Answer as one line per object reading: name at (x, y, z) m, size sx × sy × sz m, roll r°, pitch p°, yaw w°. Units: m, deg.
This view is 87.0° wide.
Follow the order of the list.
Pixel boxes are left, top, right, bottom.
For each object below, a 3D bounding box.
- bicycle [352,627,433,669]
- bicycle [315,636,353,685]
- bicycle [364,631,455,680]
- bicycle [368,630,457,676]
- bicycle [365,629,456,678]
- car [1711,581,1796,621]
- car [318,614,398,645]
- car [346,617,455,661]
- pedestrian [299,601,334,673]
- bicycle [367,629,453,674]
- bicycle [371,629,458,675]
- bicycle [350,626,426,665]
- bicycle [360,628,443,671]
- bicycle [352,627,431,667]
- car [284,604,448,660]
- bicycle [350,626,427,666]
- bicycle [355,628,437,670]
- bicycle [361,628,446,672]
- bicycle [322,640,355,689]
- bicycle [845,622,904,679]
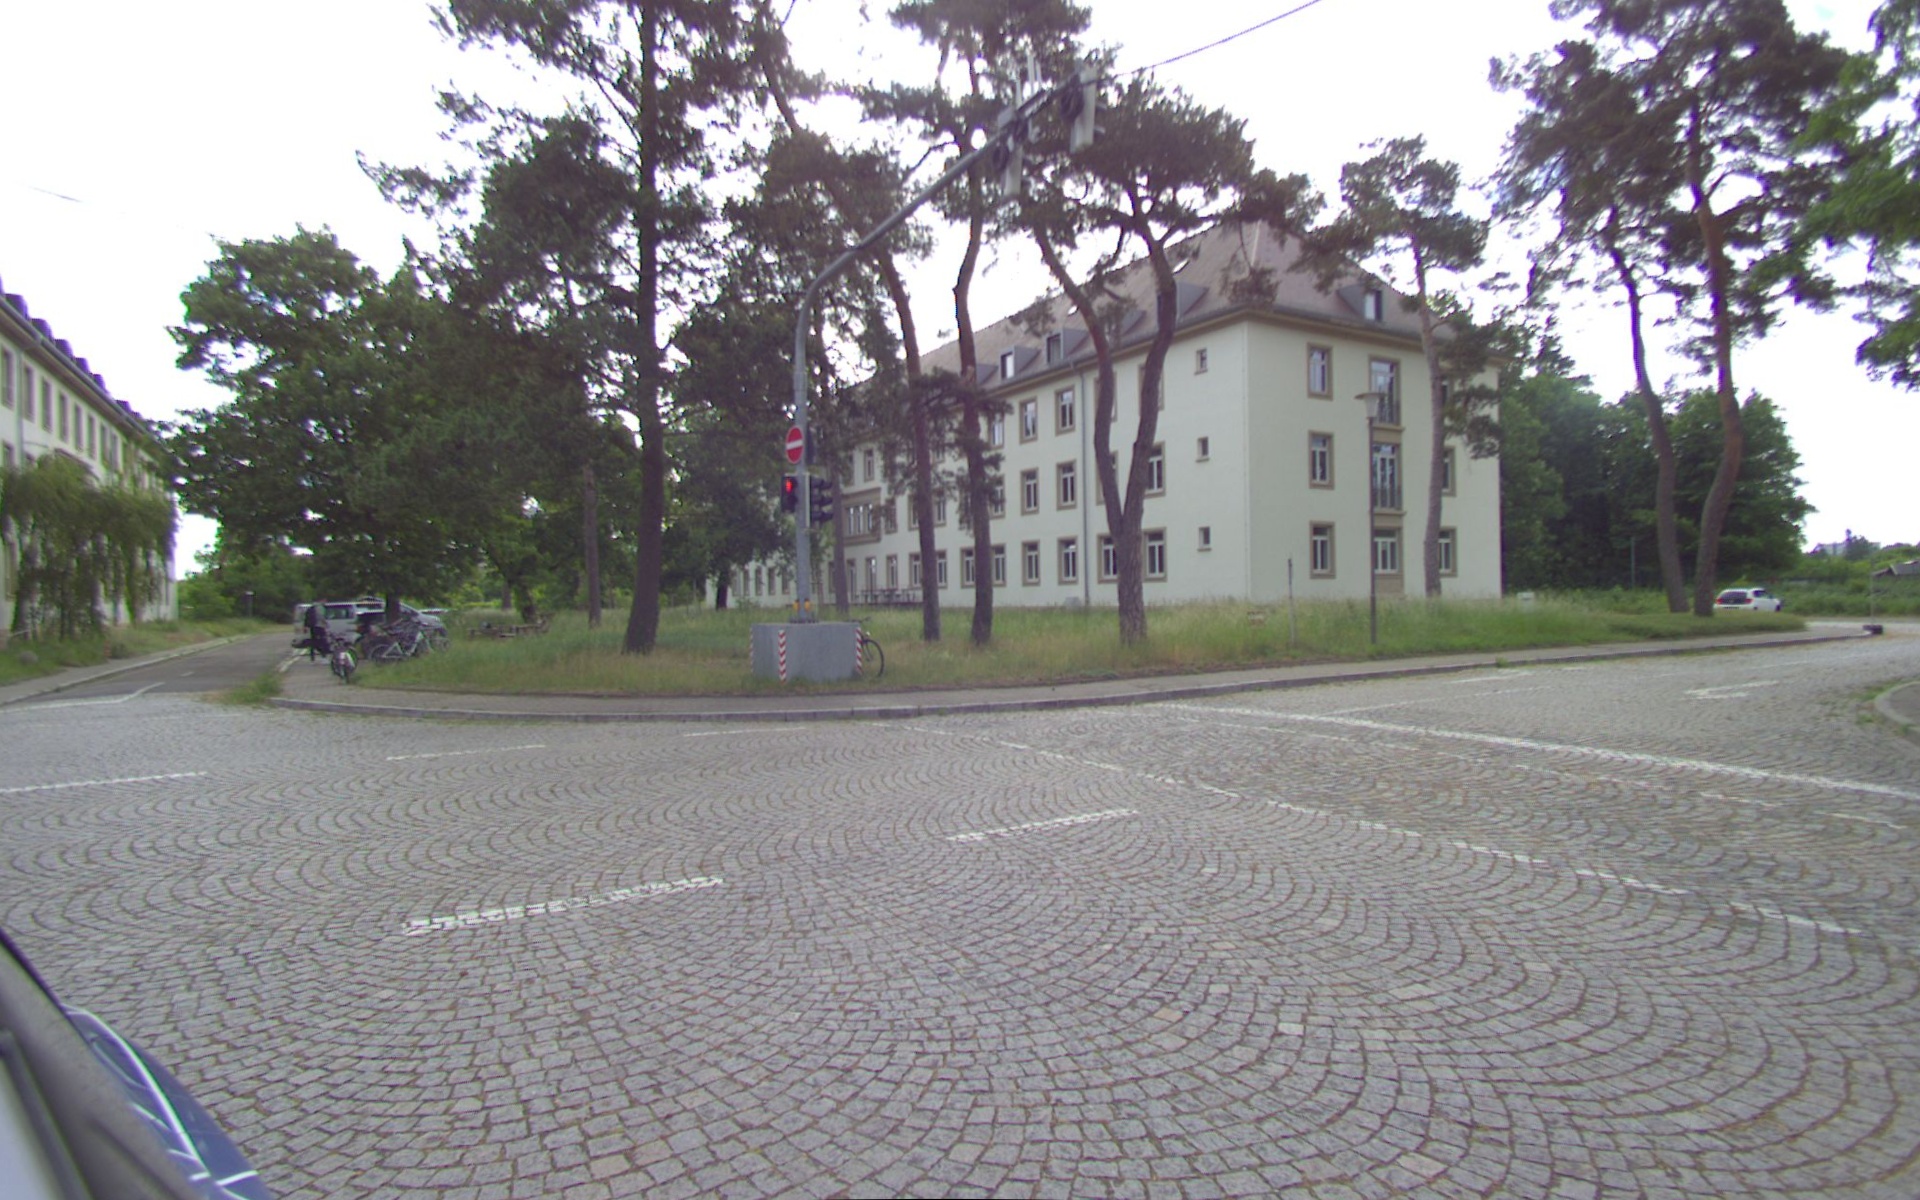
bicycle at (-15.854, 1.322, 28.281) m, size 1.919 × 1.073 × 0.564 m, roll -1°, pitch -1°, yaw -33°
bicycle at (-13.768, 1.317, 22.270) m, size 0.452 × 0.981 × 1.668 m, roll -1°, pitch 0°, yaw -23°
bicycle at (-13.290, 1.317, 24.450) m, size 1.868 × 1.073 × 0.618 m, roll -1°, pitch -1°, yaw -33°
bicycle at (-13.746, 1.317, 25.446) m, size 1.919 × 1.073 × 0.564 m, roll -1°, pitch -1°, yaw -33°
bicycle at (-13.536, 1.293, 24.953) m, size 1.919 × 1.119 × 0.564 m, roll -1°, pitch -1°, yaw -33°
car at (37.540, 0.044, 47.876) m, size 3.931 × 1.820 × 1.727 m, roll -1°, pitch 0°, yaw -29°
car at (-30.601, 1.462, 51.454) m, size 3.384 × 1.460 × 1.919 m, roll -1°, pitch 0°, yaw -33°
car at (-20.655, 1.401, 37.343) m, size 3.384 × 1.460 × 1.919 m, roll -1°, pitch 0°, yaw -33°
pedestrian at (-17.856, 1.007, 28.095) m, size 0.780 × 1.952 × 0.590 m, roll -1°, pitch -1°, yaw -31°
bicycle at (-14.343, 1.319, 26.413) m, size 1.919 × 1.073 × 0.564 m, roll -1°, pitch -1°, yaw -33°
bicycle at (-14.016, 1.318, 26.043) m, size 1.919 × 1.073 × 0.564 m, roll -1°, pitch -1°, yaw -33°
bicycle at (-16.933, 1.327, 29.977) m, size 1.919 × 1.073 × 0.564 m, roll -1°, pitch -1°, yaw -33°
bicycle at (-15.051, 1.318, 27.298) m, size 1.919 × 1.073 × 0.564 m, roll -1°, pitch -1°, yaw -33°
bicycle at (-16.228, 1.324, 28.907) m, size 1.919 × 1.073 × 0.564 m, roll -1°, pitch -1°, yaw -33°
car at (-23.386, 1.213, 39.948) m, size 5.282 × 2.014 × 2.295 m, roll -1°, pitch 0°, yaw -40°
bicycle at (-16.623, 1.326, 29.461) m, size 1.919 × 1.073 × 0.564 m, roll -1°, pitch -1°, yaw -33°
bicycle at (-15.425, 1.320, 27.711) m, size 1.919 × 1.073 × 0.564 m, roll -1°, pitch -1°, yaw -33°
bicycle at (-14.747, 1.316, 26.849) m, size 1.919 × 1.073 × 0.564 m, roll -1°, pitch -1°, yaw -33°
bicycle at (-12.739, 1.296, 20.758) m, size 0.452 × 0.916 × 1.668 m, roll -1°, pitch 0°, yaw -28°
bicycle at (-1.432, 0.844, 16.938) m, size 1.052 × 0.923 × 0.290 m, roll -2°, pitch -1°, yaw 37°
